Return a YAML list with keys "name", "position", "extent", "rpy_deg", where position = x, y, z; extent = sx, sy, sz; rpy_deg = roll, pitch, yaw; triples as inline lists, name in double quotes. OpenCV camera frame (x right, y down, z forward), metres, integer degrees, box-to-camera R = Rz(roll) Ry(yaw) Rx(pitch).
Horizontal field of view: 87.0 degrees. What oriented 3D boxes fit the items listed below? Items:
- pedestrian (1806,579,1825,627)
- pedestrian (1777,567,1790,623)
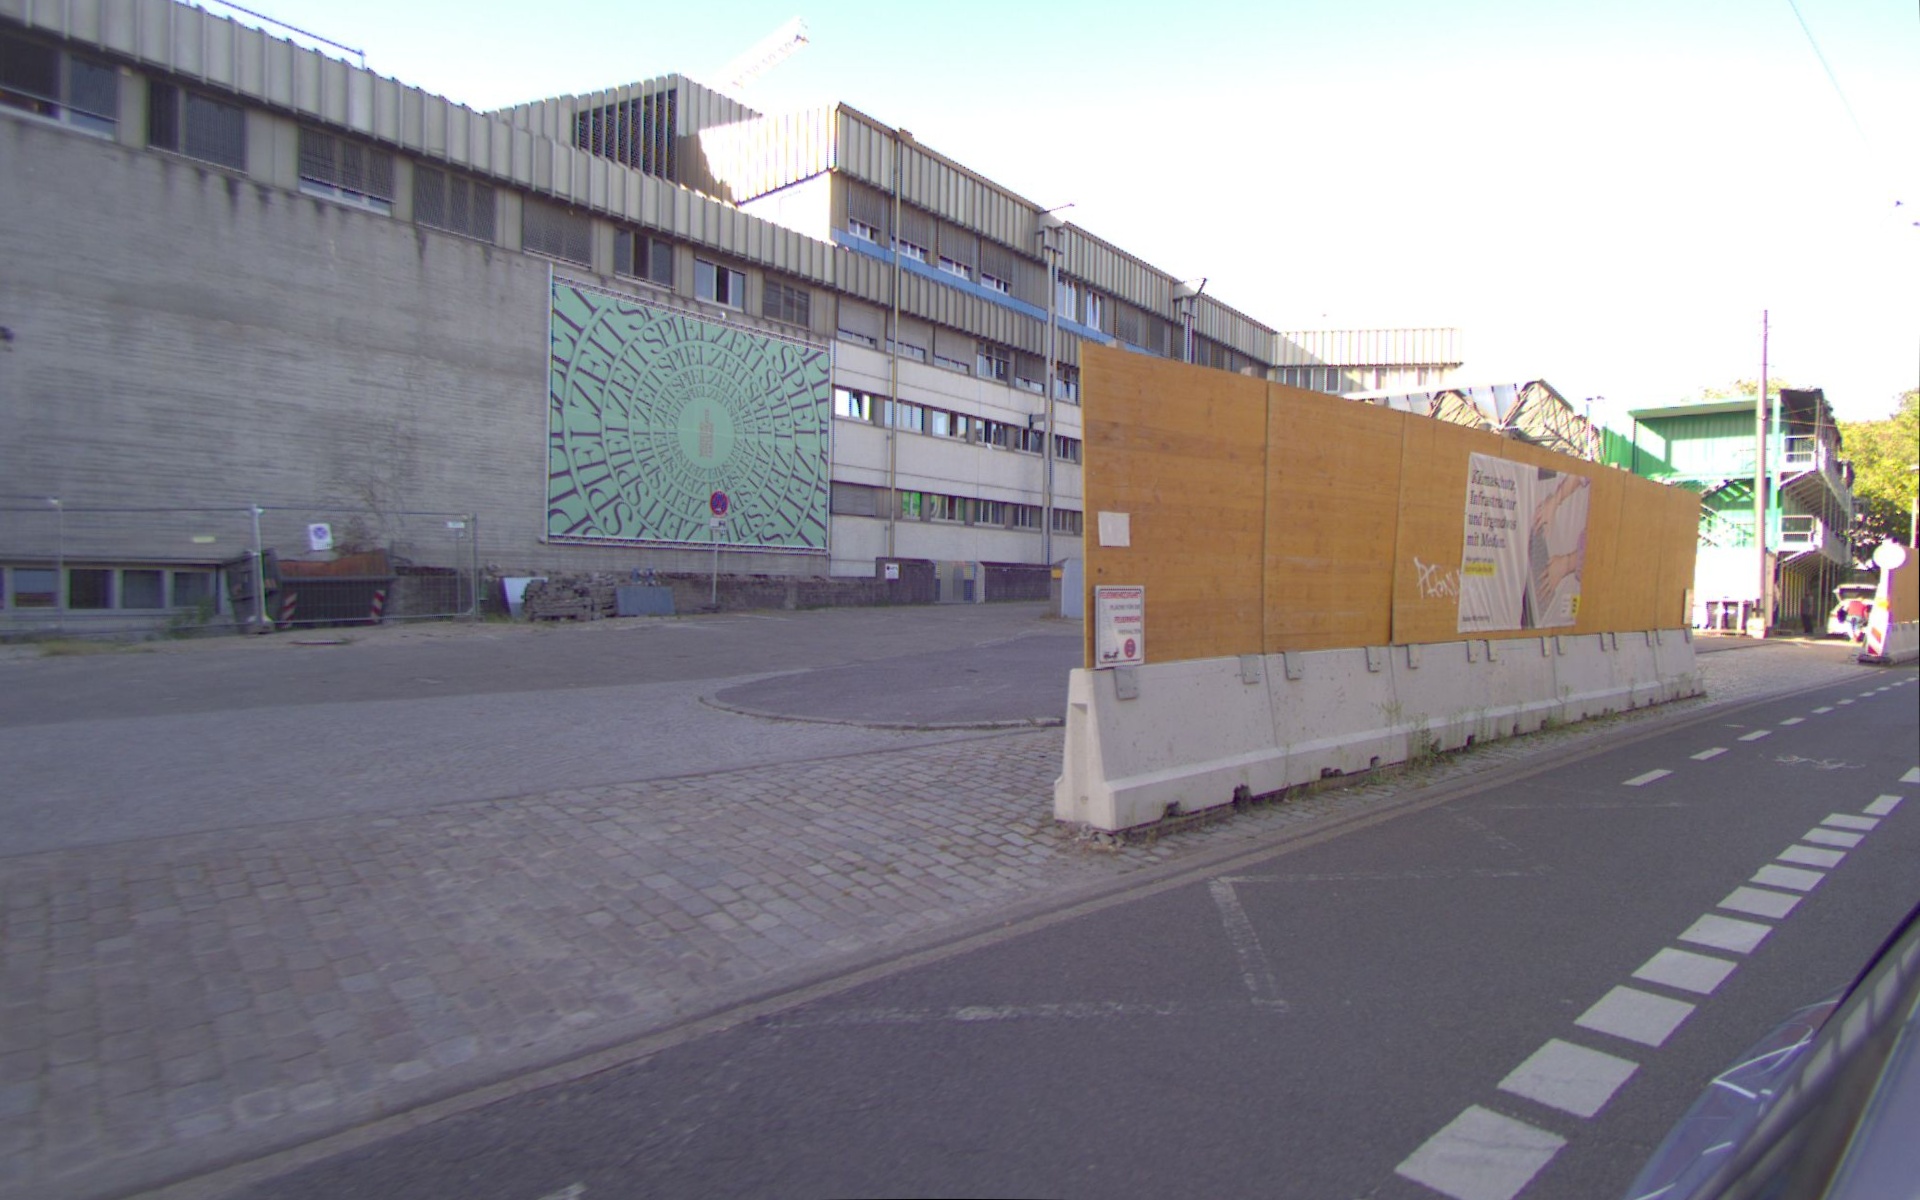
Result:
- name: "pedestrian"
  position: [31.784, 0.113, 37.591]
  extent: [0.445, 1.780, 0.373]
  rpy_deg: [1, 1, 30]
- name: "pedestrian"
  position: [30.963, -0.189, 38.062]
  extent: [0.306, 2.071, 0.347]
  rpy_deg: [2, 1, 44]
